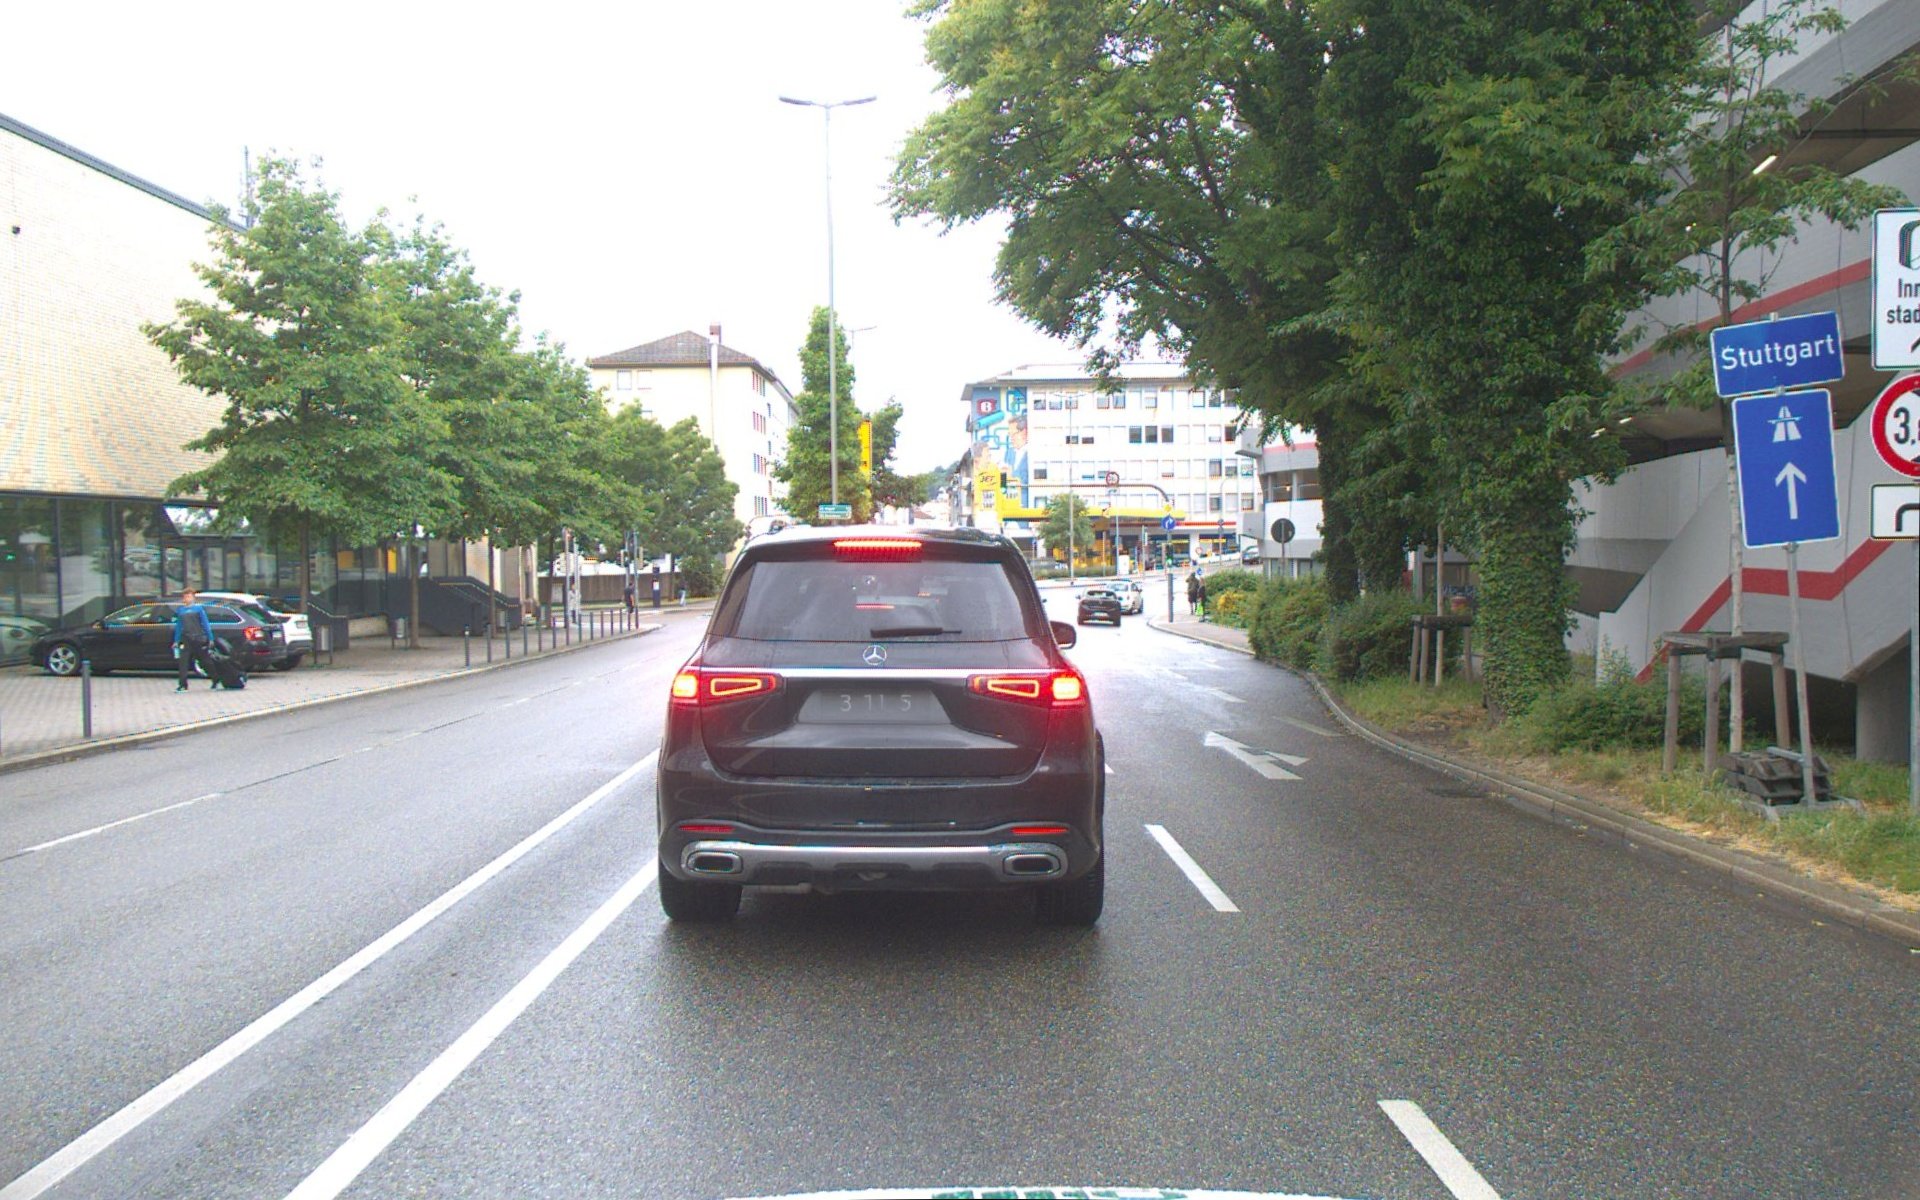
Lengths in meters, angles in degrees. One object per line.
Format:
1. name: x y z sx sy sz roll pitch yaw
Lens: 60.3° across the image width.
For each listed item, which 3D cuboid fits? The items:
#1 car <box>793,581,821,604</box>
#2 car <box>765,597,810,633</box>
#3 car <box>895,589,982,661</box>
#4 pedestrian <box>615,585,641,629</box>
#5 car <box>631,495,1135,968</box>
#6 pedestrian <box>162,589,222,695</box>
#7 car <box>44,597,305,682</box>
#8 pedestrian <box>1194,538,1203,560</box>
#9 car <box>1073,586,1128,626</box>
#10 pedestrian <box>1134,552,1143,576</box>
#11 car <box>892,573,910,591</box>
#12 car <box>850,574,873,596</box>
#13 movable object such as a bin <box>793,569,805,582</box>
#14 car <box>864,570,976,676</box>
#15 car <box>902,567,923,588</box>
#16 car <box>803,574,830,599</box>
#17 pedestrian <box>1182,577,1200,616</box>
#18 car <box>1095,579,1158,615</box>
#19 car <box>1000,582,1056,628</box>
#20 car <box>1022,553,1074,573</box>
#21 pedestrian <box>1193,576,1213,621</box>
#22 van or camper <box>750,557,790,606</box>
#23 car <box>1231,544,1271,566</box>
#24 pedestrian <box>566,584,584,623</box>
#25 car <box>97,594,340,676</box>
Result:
1. car: -10.500 -0.478 113.473 1.761 1.521 3.801 1 0 -3
2. car: -7.700 0.660 74.111 1.706 1.496 3.880 -2 0 -3
3. car: -0.496 0.539 37.719 1.869 1.527 3.999 1 0 -1
4. pedestrian: -13.374 0.283 66.675 0.931 1.734 0.709 1 -1 -18
5. car: -0.327 0.528 8.506 1.953 1.832 3.999 1 0 -1
6. pedestrian: -12.873 0.705 27.744 0.621 1.744 0.705 1 -1 2
7. car: -15.132 0.750 32.057 4.097 1.521 1.997 1 0 -8
8. pedestrian: 19.770 -4.224 136.954 0.515 1.757 0.689 0 1 26
9. car: 5.552 0.244 65.787 1.905 1.512 4.001 1 0 1
10. pedestrian: 12.985 -2.636 120.524 0.560 1.727 0.631 1 -1 0
11. car: -6.886 -2.084 192.296 1.953 2.049 4.000 1 0 0
12. car: -8.076 -1.229 135.598 1.868 1.733 3.997 1 0 -4
13. movable object such as a bin: -13.693 -2.055 140.914 0.891 1.056 0.844 1 0 0
14. car: -0.730 0.421 31.125 1.953 1.832 3.999 1 0 -1
15. car: -4.772 -2.225 165.311 1.953 2.049 4.000 1 0 0
16. car: -10.680 -0.995 123.147 1.868 1.733 3.997 1 0 -4
17. pedestrian: 10.261 -0.159 73.465 0.703 1.720 0.455 1 -1 -7
18. car: 7.813 -0.127 77.317 1.719 1.576 3.997 1 0 25
19. car: 2.412 0.154 59.435 1.759 1.552 4.055 1 1 -1
20. car: 6.840 -2.891 128.687 1.724 1.400 3.935 -3 2 -44
21. pedestrian: 9.630 -0.056 65.527 0.634 1.740 0.470 0 -1 35
22. van or camper: -10.657 -1.013 93.210 2.061 2.627 5.901 -2 0 -6
23. car: 24.437 -3.801 138.735 1.958 1.735 3.990 -1 1 33
24. pedestrian: -16.822 0.139 72.326 0.630 1.695 1.017 1 0 -7
25. car: -15.334 0.712 34.357 4.090 1.574 2.000 1 0 0
